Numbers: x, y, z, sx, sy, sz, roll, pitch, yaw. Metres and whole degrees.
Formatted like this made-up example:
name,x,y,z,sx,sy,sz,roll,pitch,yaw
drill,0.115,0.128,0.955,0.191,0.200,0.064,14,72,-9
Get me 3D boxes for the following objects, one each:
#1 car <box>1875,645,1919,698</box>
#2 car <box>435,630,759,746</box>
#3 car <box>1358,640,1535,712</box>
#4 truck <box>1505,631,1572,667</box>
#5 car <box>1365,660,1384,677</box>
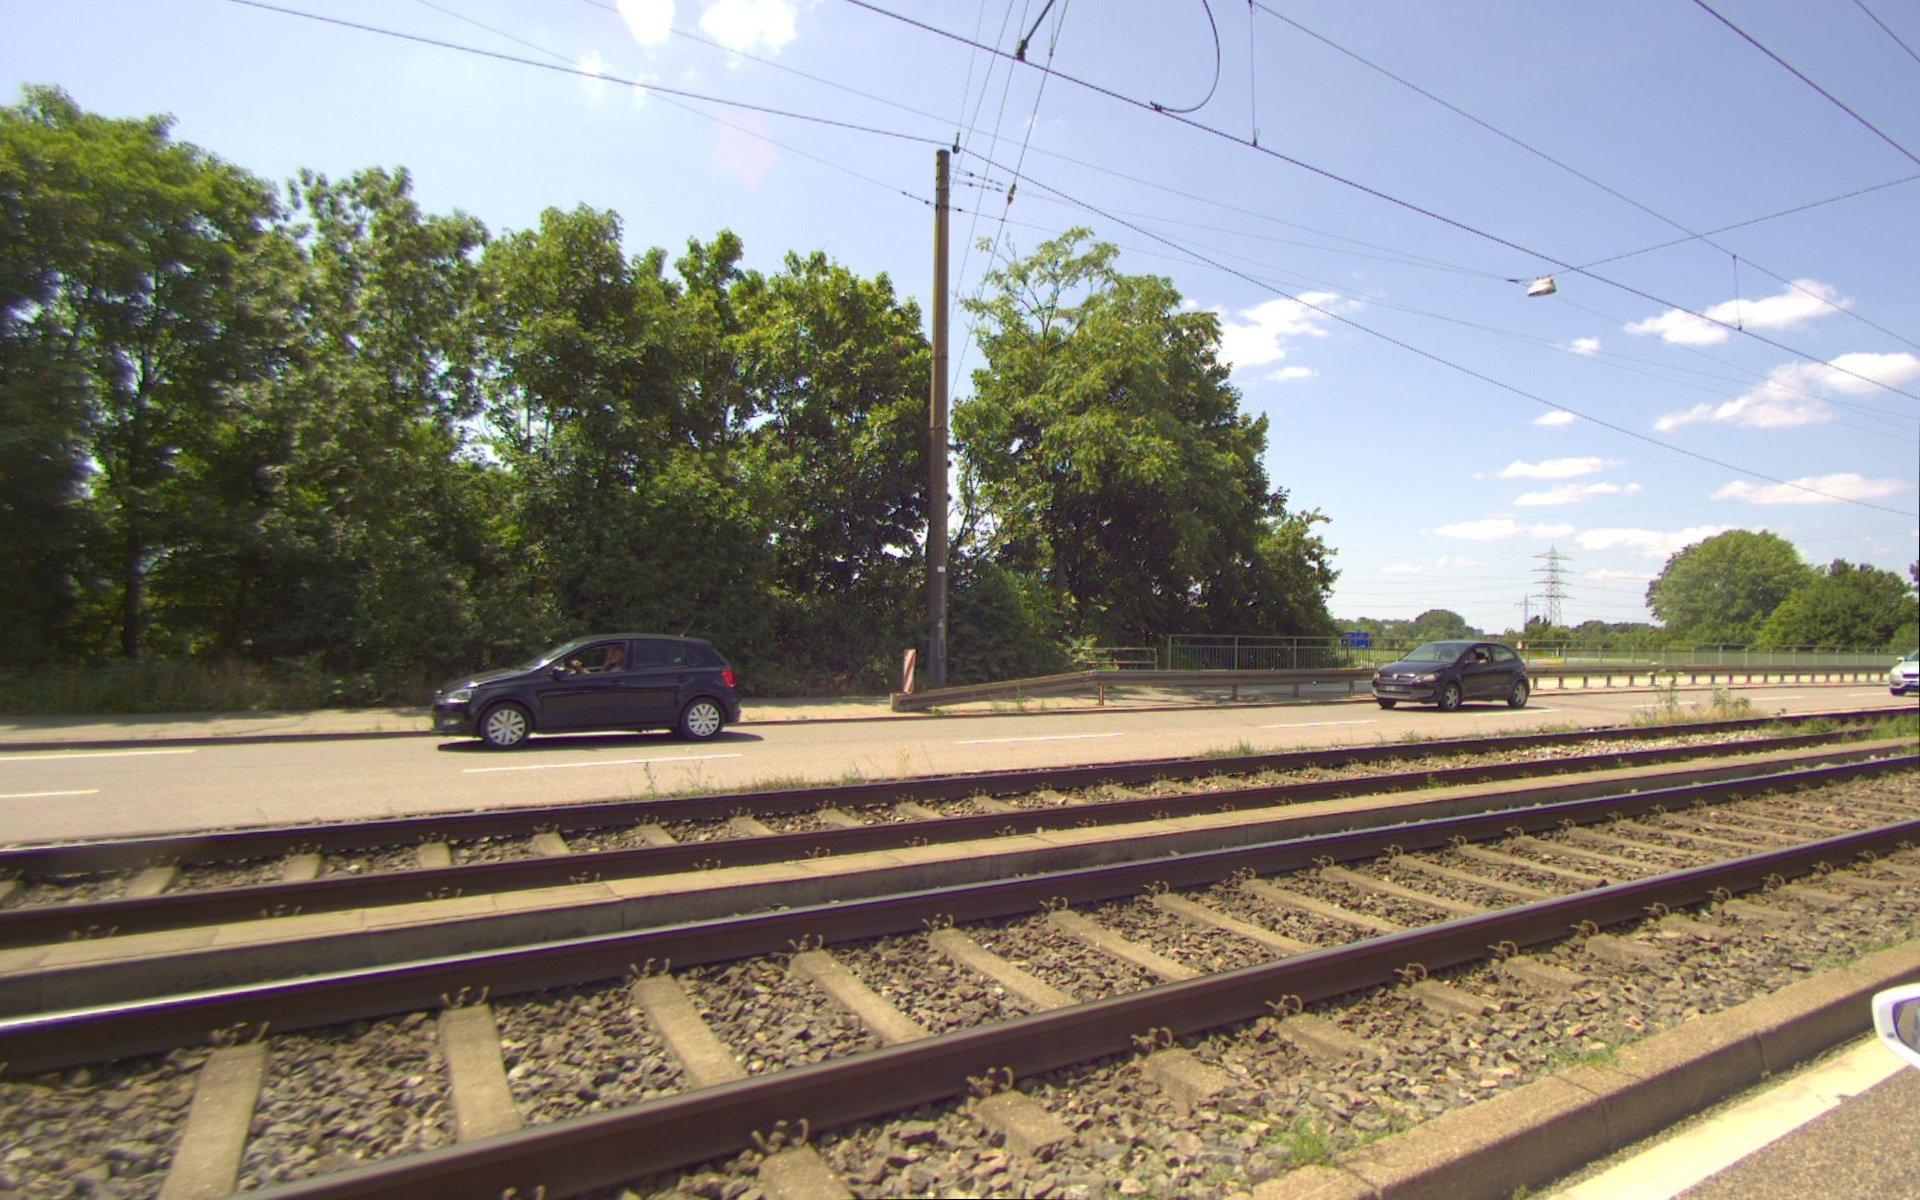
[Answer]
name,x,y,z,sx,sy,sz,roll,pitch,yaw
car,27.980,2.019,28.493,4.570,1.438,1.703,2,-3,-30
car,-4.840,1.132,13.527,3.883,1.365,1.556,2,-3,-30
car,10.480,1.598,21.571,3.893,1.418,1.566,2,-2,-31
truck,109.756,9.258,190.761,10.614,5.714,3.290,3,3,28
car,64.297,10.623,155.922,1.832,2.040,4.002,4,2,10
